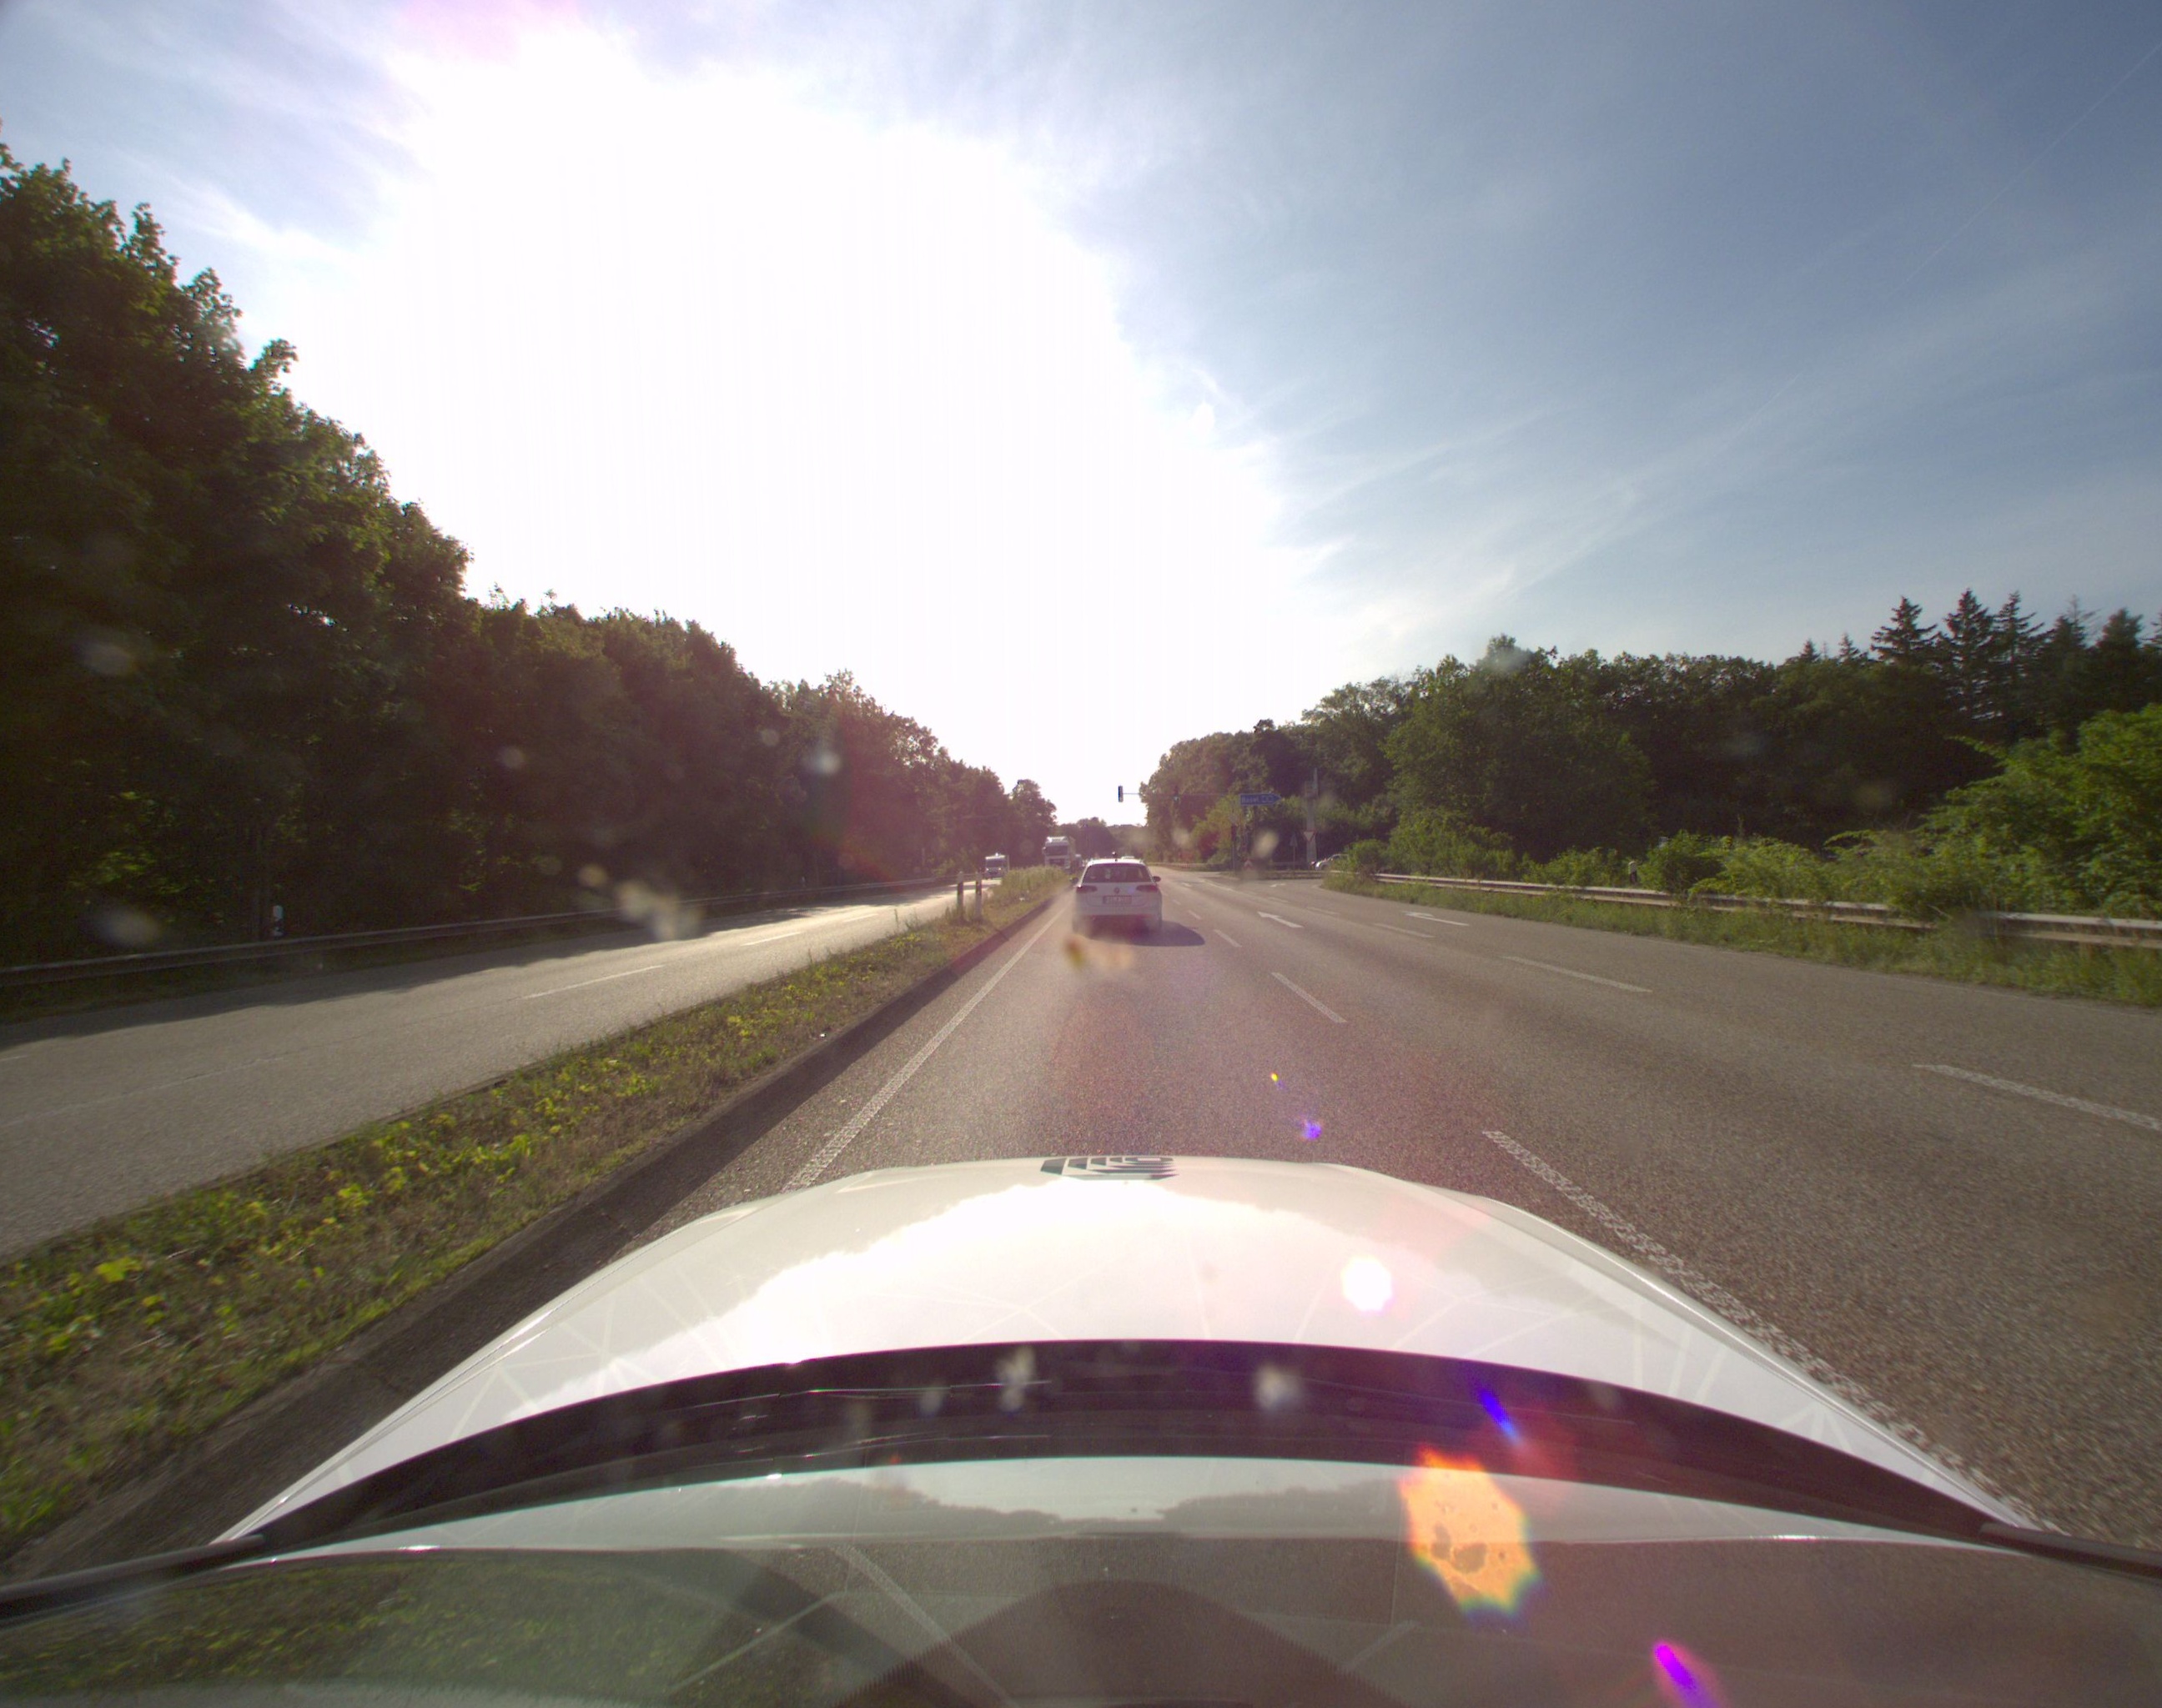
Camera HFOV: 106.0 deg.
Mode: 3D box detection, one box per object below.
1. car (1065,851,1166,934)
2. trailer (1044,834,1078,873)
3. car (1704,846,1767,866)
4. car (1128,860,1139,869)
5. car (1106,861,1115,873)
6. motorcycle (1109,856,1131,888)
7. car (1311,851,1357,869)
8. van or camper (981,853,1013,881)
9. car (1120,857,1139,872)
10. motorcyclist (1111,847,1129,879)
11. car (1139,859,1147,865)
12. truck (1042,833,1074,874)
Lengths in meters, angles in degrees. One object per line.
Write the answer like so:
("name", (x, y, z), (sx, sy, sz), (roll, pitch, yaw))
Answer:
("car", (0.784, 0.744, 17.726), (1.862, 1.521, 4.838), (-1, 0, 3))
("trailer", (-2.135, -0.005, 90.663), (2.980, 3.996, 14.018), (-1, 0, 2))
("car", (53.189, 0.143, 66.233), (3.577, 1.503, 1.813), (-1, 0, 8))
("car", (8.995, 1.758, 139.344), (1.754, 1.380, 3.975), (-1, 0, 4))
("car", (7.895, 3.461, 218.354), (2.201, 2.888, 7.015), (-3, 0, 3))
("motorcycle", (2.026, 0.895, 41.584), (0.904, 1.453, 2.692), (-5, 0, 5))
("car", (22.175, 0.528, 71.359), (3.578, 1.503, 1.812), (-1, 0, 7))
("van or camper", (-9.163, 1.391, 89.363), (2.403, 2.711, 6.441), (-5, -1, 3))
("car", (4.616, 0.964, 77.568), (1.754, 1.380, 3.975), (-1, 0, 4))
("motorcyclist", (2.015, 0.459, 41.686), (0.879, 1.616, 1.292), (-1, -1, 5))
("car", (14.126, 1.806, 184.764), (1.754, 1.380, 3.976), (-3, 1, 4))
("truck", (-2.309, -0.048, 83.025), (2.880, 3.997, 6.723), (-1, 0, 1))
